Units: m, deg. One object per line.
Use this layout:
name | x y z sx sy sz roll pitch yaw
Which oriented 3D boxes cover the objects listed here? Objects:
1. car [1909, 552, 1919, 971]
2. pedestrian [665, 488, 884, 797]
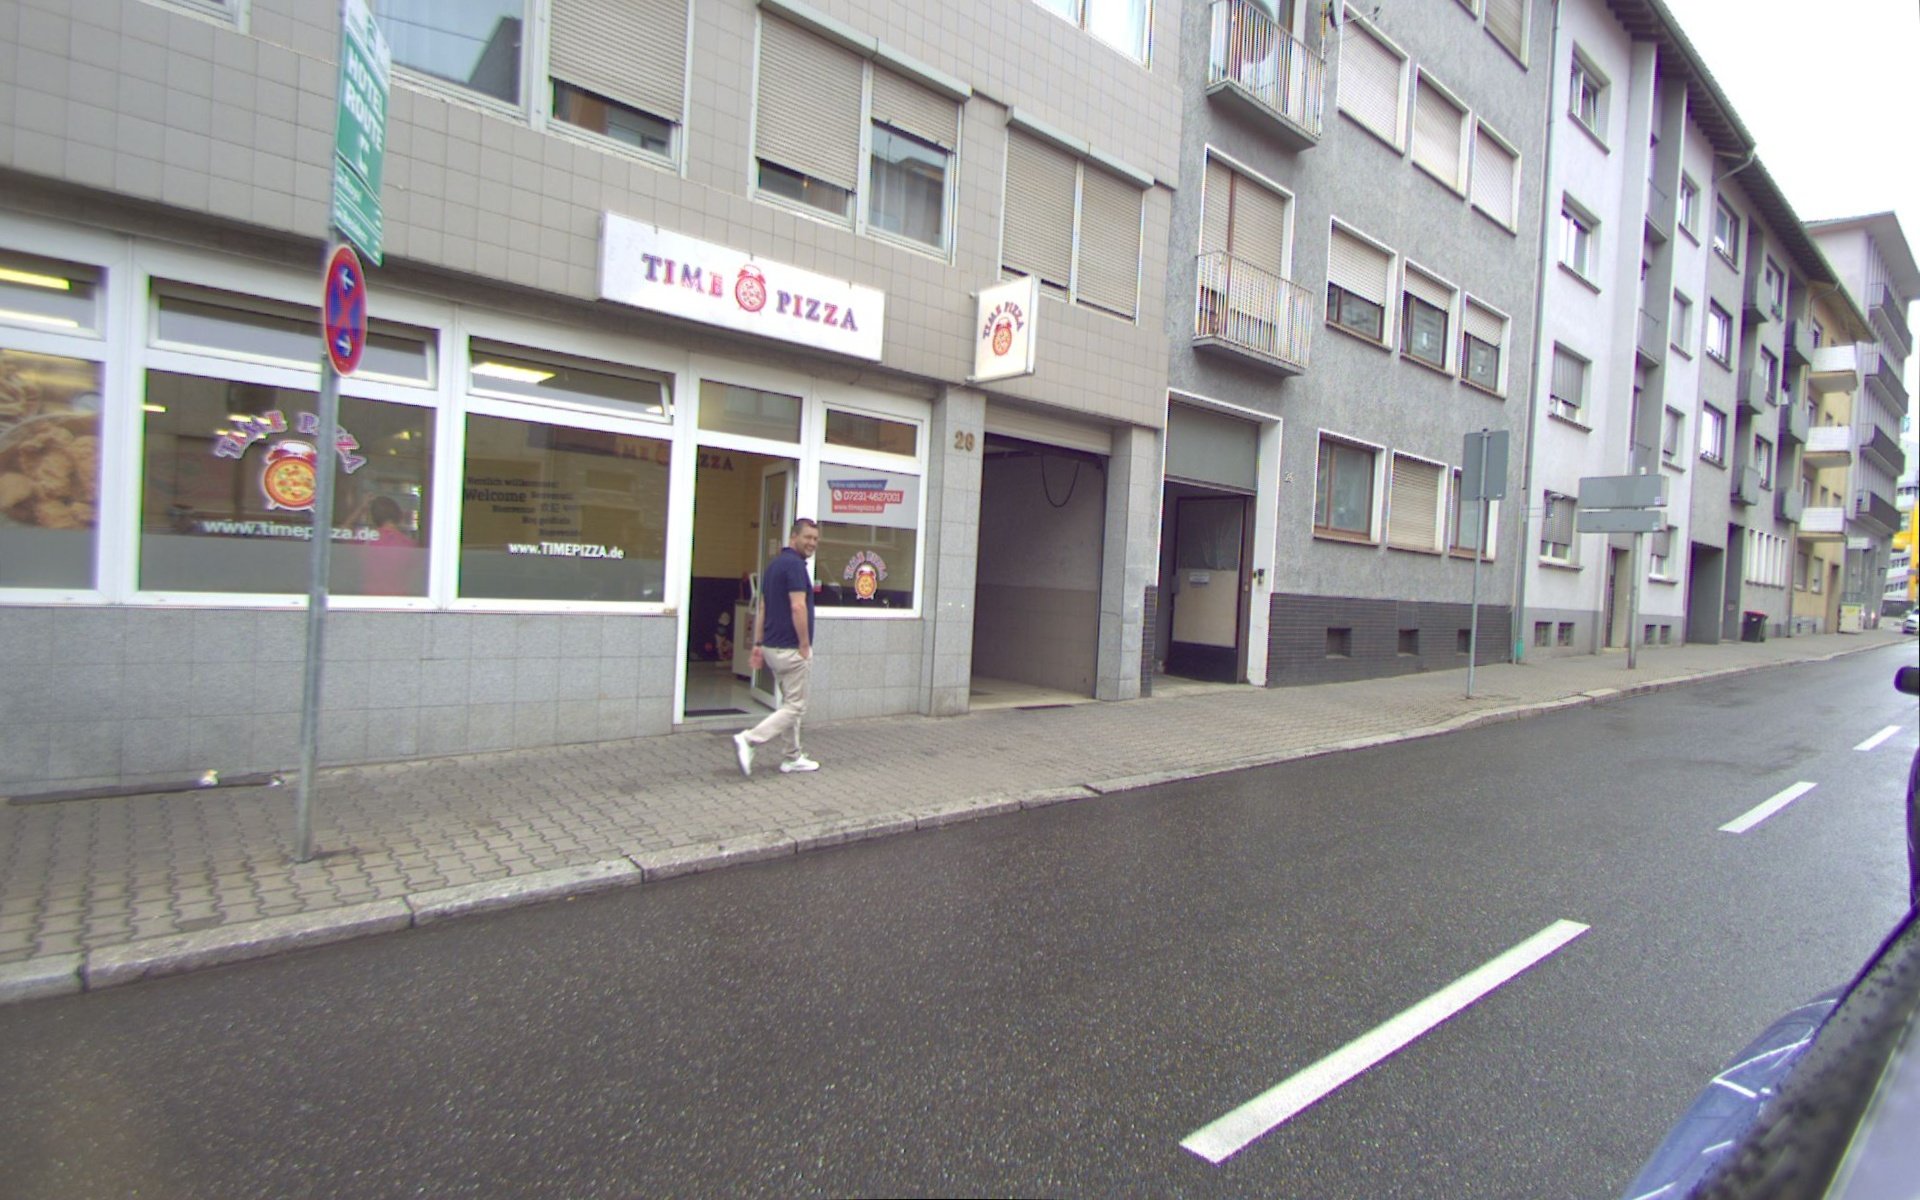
car | 6.080 0.653 4.936 4.144 1.743 1.697 -1 0 -41
pedestrian | -1.273 0.233 6.920 1.100 1.887 0.871 0 6 -41
